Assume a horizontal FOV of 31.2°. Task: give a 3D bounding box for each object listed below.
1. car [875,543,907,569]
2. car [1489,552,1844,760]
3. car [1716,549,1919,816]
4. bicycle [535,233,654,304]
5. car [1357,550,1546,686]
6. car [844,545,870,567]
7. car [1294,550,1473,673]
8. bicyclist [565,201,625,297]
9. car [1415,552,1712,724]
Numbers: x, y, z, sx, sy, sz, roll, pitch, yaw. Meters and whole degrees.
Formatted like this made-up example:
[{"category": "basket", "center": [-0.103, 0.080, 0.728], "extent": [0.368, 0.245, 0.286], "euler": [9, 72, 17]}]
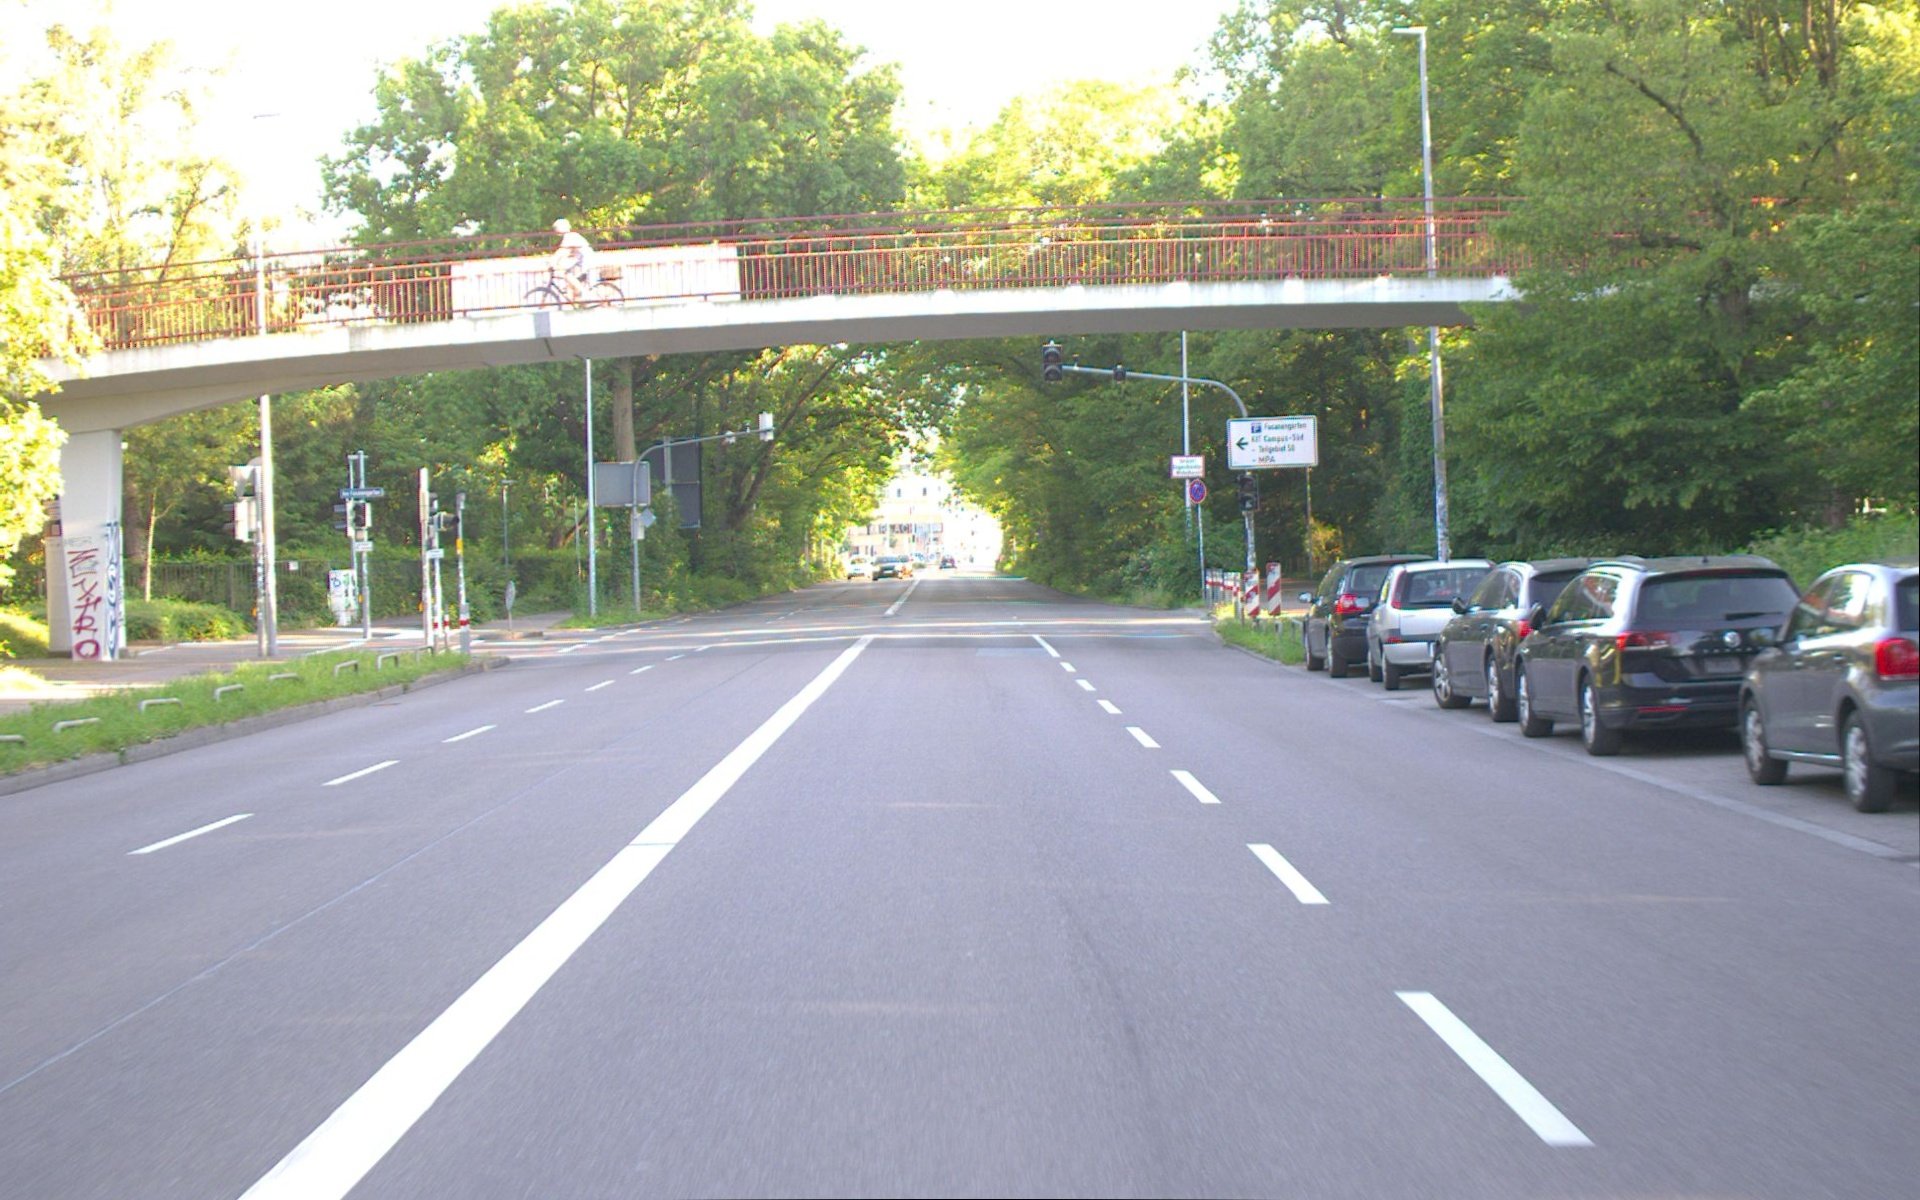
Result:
[{"category": "car", "center": [-4.211, -2.701, 210.482], "extent": [1.887, 1.501, 4.364], "euler": [-2, 1, -1]}, {"category": "car", "center": [5.508, 0.378, 27.407], "extent": [1.637, 1.449, 4.898], "euler": [-2, 1, -2]}, {"category": "car", "center": [5.865, 0.424, 21.042], "extent": [1.586, 1.449, 3.943], "euler": [-2, 1, 1]}, {"category": "bicycle", "center": [-6.260, -5.677, 58.928], "extent": [1.987, 1.143, 0.714], "euler": [0, 0, -2]}, {"category": "car", "center": [5.706, 0.175, 40.331], "extent": [1.774, 1.449, 4.014], "euler": [-2, 1, 3]}, {"category": "car", "center": [-7.383, -3.161, 246.156], "extent": [1.797, 1.501, 4.364], "euler": [-2, 1, -1]}, {"category": "car", "center": [5.457, 0.116, 44.742], "extent": [1.774, 1.449, 4.388], "euler": [-2, 1, 1]}, {"category": "bicyclist", "center": [-6.247, -6.009, 58.919], "extent": [0.970, 1.580, 0.714], "euler": [0, 0, -2]}, {"category": "car", "center": [5.658, 0.307, 32.841], "extent": [1.774, 1.449, 5.038], "euler": [-2, 1, -2]}]
